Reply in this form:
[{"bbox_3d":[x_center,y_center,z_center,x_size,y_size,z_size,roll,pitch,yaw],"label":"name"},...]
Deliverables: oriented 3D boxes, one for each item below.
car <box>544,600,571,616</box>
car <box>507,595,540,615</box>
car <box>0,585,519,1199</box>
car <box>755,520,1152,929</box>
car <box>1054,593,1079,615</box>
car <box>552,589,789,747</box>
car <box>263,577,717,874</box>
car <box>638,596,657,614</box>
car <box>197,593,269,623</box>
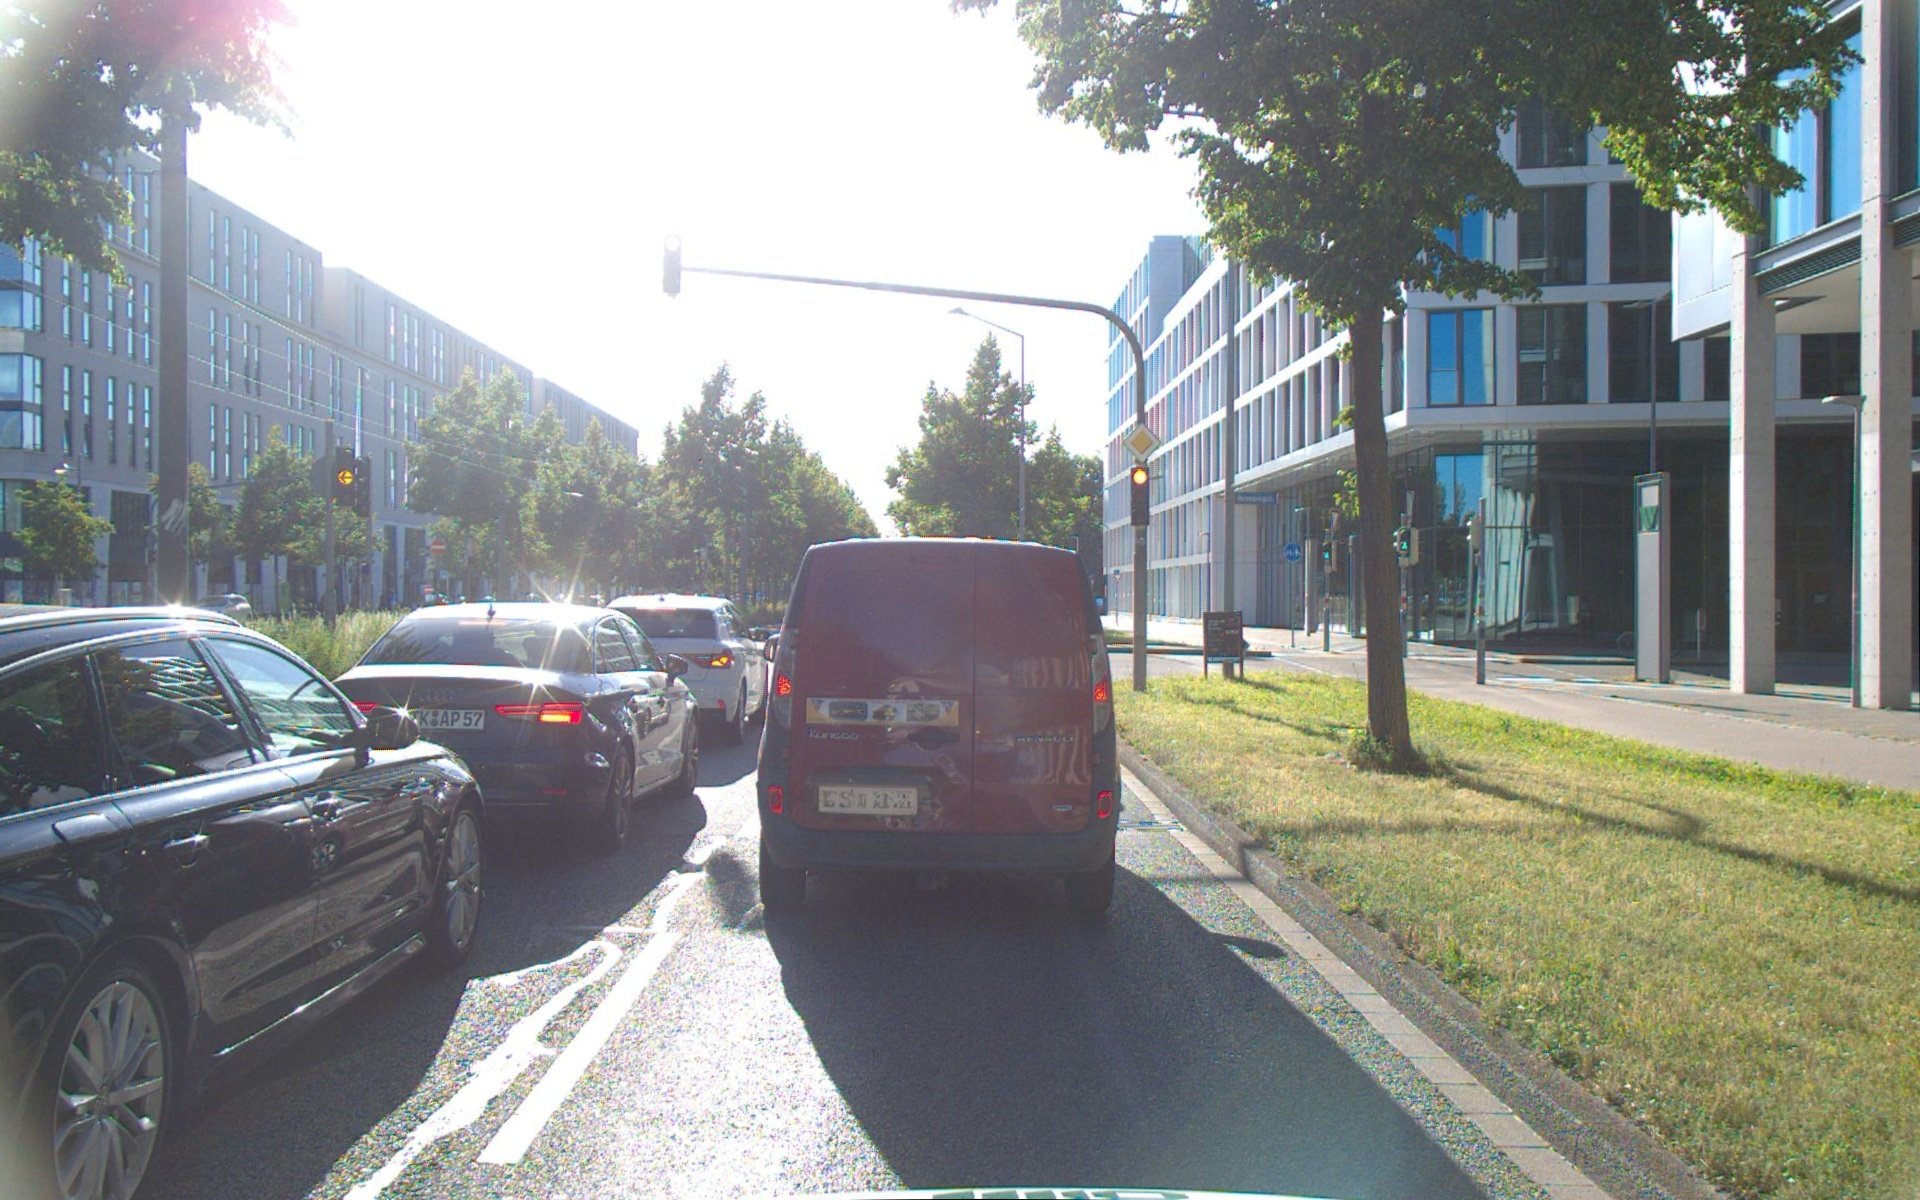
[{"bbox_3d":[-36.156,0.703,148.577,1.548,1.366,3.711,0,0,-1],"label":"car"},{"bbox_3d":[-35.107,0.406,132.994,1.740,1.555,3.805,0,0,-1],"label":"car"},{"bbox_3d":[-2.734,0.701,4.793,1.771,1.482,4.507,0,0,-1],"label":"car"},{"bbox_3d":[-0.030,0.547,9.442,1.771,1.825,4.113,0,0,0],"label":"car"},{"bbox_3d":[8.213,0.320,127.981,1.722,1.640,3.903,0,0,0],"label":"car"},{"bbox_3d":[-2.908,0.623,17.448,1.771,1.460,4.113,0,0,0],"label":"car"},{"bbox_3d":[-2.768,0.649,10.739,1.771,1.554,4.113,0,0,0],"label":"car"},{"bbox_3d":[-37.087,0.581,196.158,1.694,2.049,3.998,0,0,-3],"label":"car"},{"bbox_3d":[-34.554,0.376,78.738,1.548,1.366,4.470,0,0,-1],"label":"car"}]
